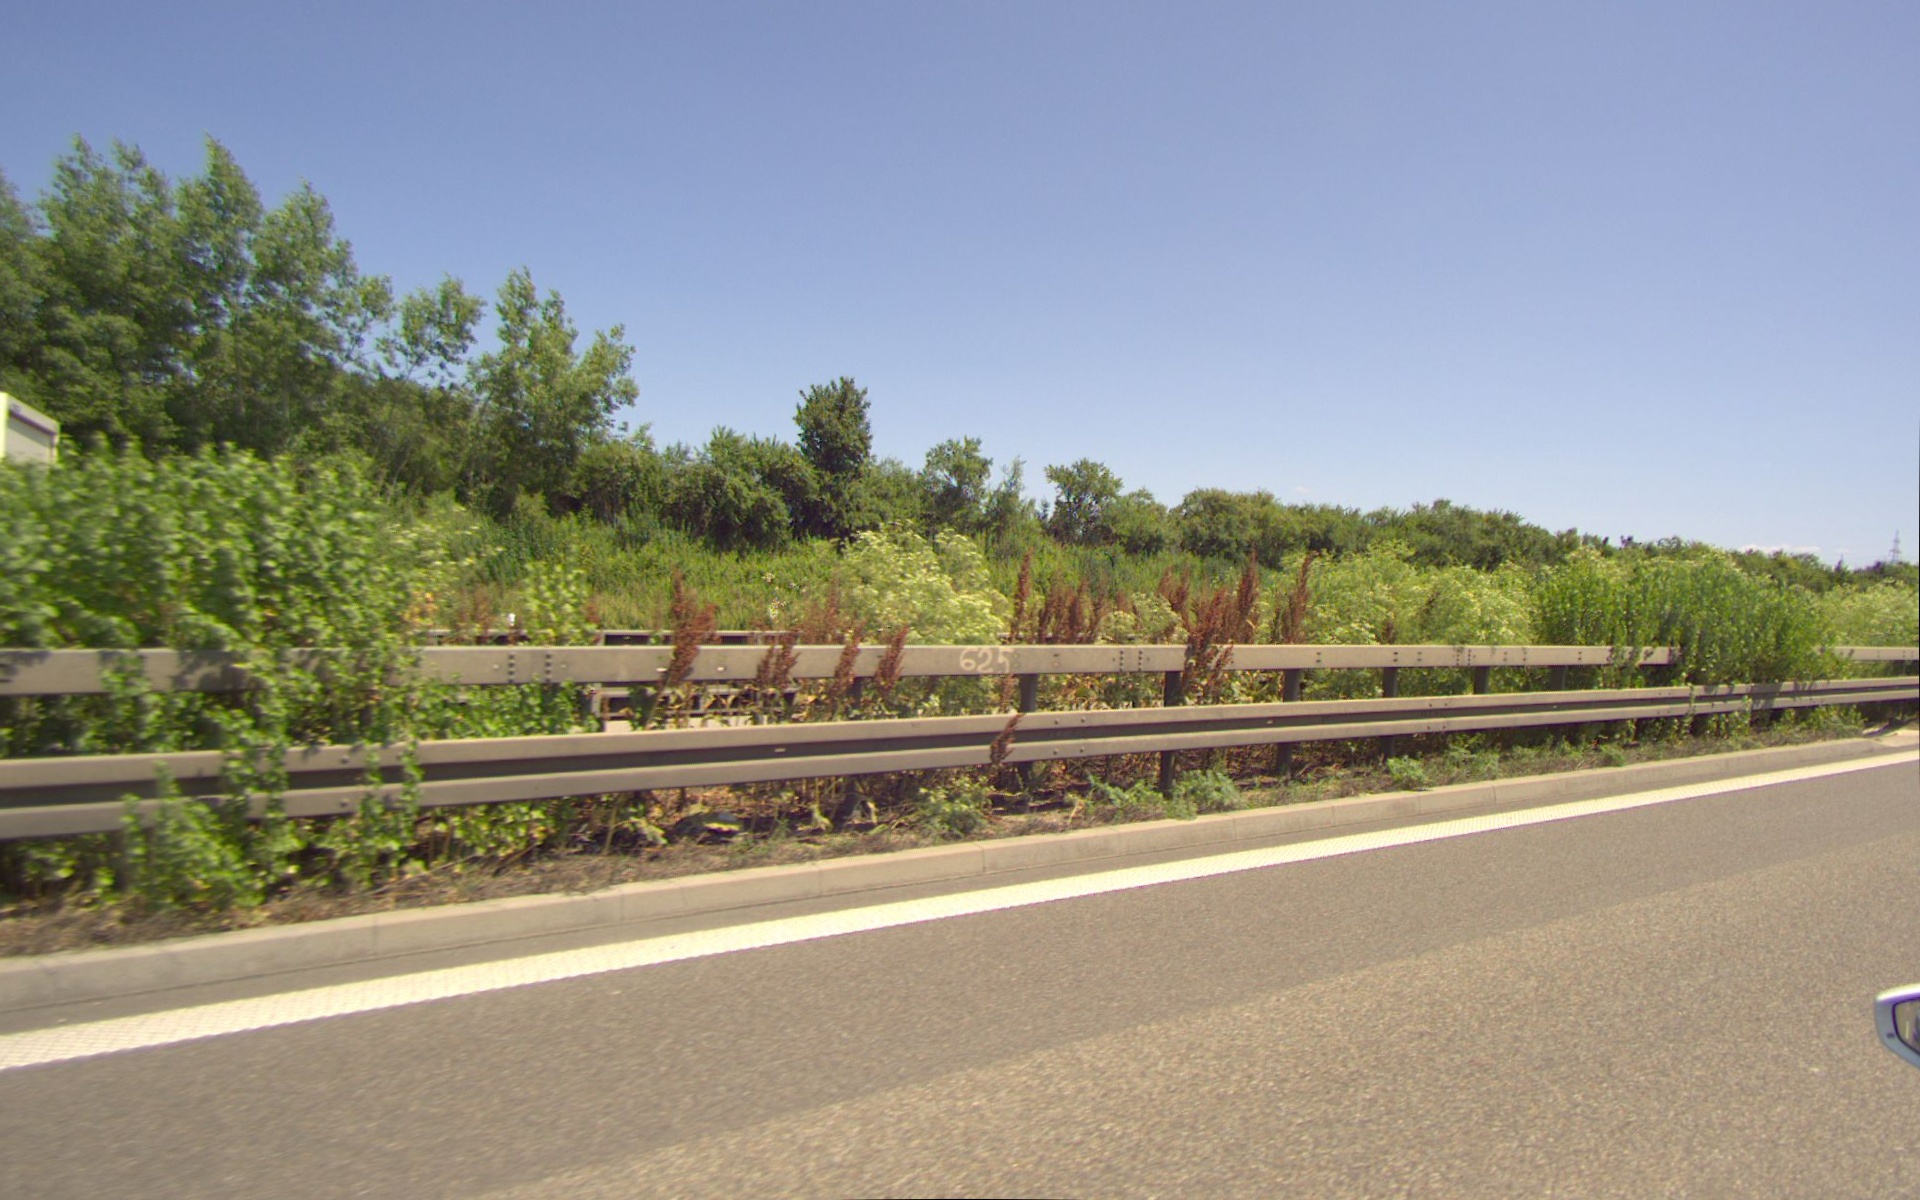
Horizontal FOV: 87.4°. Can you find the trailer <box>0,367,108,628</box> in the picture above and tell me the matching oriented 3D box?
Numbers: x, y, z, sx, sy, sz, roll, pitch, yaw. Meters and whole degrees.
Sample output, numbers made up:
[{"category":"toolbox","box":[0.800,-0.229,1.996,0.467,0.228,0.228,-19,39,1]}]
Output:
[{"category":"trailer","box":[-19.717,-1.570,10.897,15.648,3.489,2.584,2,0,-31]}]
